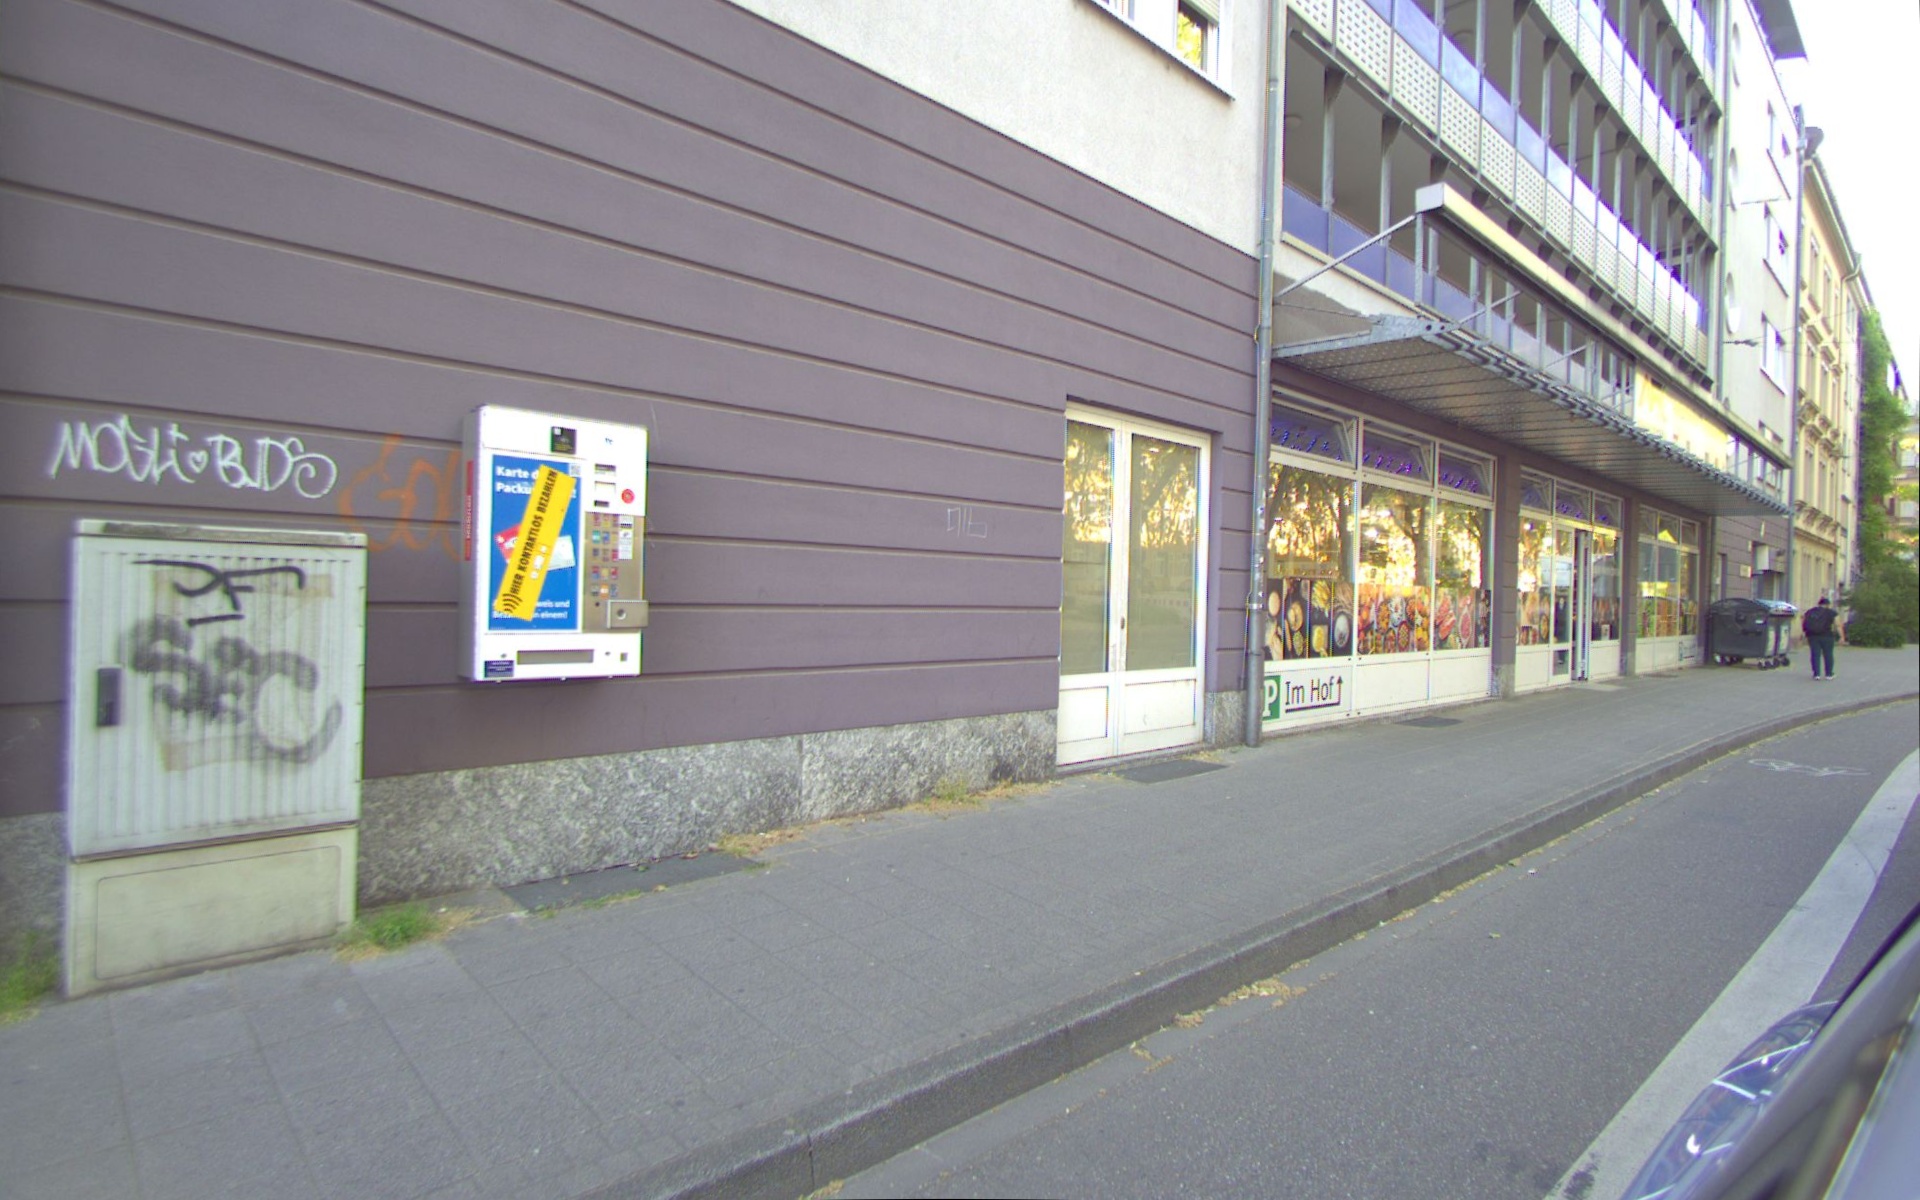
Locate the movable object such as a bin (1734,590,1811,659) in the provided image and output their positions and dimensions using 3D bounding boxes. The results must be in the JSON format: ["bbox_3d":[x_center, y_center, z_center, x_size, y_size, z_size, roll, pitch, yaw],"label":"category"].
[{"bbox_3d":[17.778,0.514,22.149,0.923,1.444,1.158,1,1,-40],"label":"movable object such as a bin"}]

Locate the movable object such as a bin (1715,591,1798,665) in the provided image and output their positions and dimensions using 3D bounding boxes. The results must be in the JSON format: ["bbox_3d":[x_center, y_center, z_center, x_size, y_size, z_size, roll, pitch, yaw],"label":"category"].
[{"bbox_3d":[16.334,0.547,20.754,0.923,1.444,1.158,1,1,-40],"label":"movable object such as a bin"}]

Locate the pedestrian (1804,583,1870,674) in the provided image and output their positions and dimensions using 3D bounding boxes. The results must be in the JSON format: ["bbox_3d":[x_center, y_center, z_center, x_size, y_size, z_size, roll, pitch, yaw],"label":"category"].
[{"bbox_3d":[16.146,0.506,18.638,0.862,1.612,0.613,2,1,44],"label":"pedestrian"}]
